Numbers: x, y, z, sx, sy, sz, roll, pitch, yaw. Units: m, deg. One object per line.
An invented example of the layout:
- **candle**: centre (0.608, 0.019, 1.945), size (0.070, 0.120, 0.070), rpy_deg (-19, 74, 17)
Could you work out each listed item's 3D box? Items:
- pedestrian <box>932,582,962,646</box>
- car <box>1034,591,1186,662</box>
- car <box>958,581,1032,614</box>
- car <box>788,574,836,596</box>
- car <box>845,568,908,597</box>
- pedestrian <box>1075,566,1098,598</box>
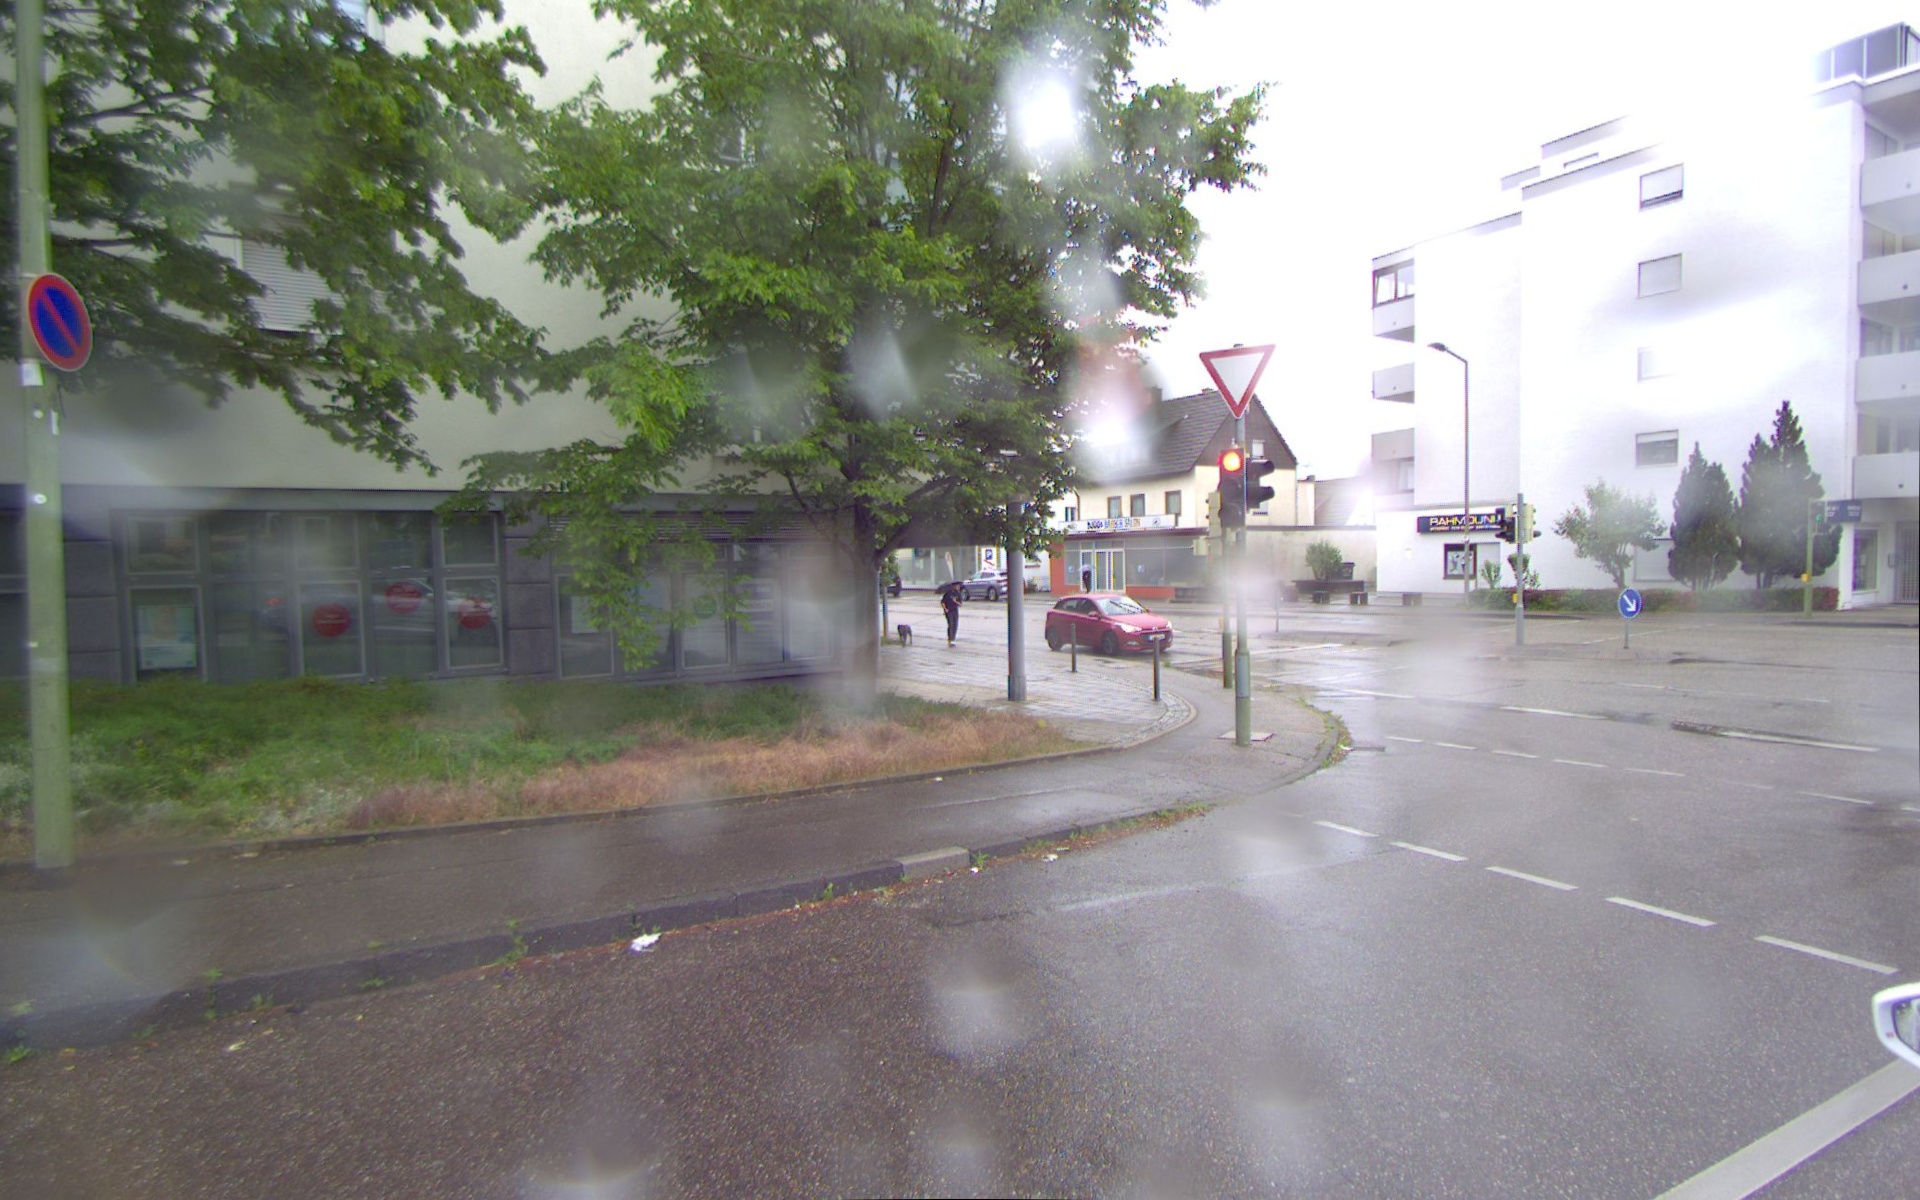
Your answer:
- **pedestrian**: centre (-0.358, 0.379, 27.748), size (0.657, 1.725, 0.945), rpy_deg (-1, 2, -11)
- **car**: centre (3.806, 0.610, 26.113), size (1.759, 1.527, 4.073), rpy_deg (-6, 3, -28)
- **car**: centre (1.911, -0.184, 56.390), size (1.858, 1.665, 4.754), rpy_deg (-5, 3, -30)
- **car**: centre (-11.080, -1.129, 74.840), size (1.803, 1.468, 4.162), rpy_deg (-5, 4, -35)
- **car**: centre (-5.601, -1.124, 66.852), size (2.020, 1.718, 4.917), rpy_deg (-6, 4, -33)
- **pedestrian**: centre (6.493, -0.912, 51.478), size (0.746, 1.589, 0.985), rpy_deg (-1, 1, -30)
